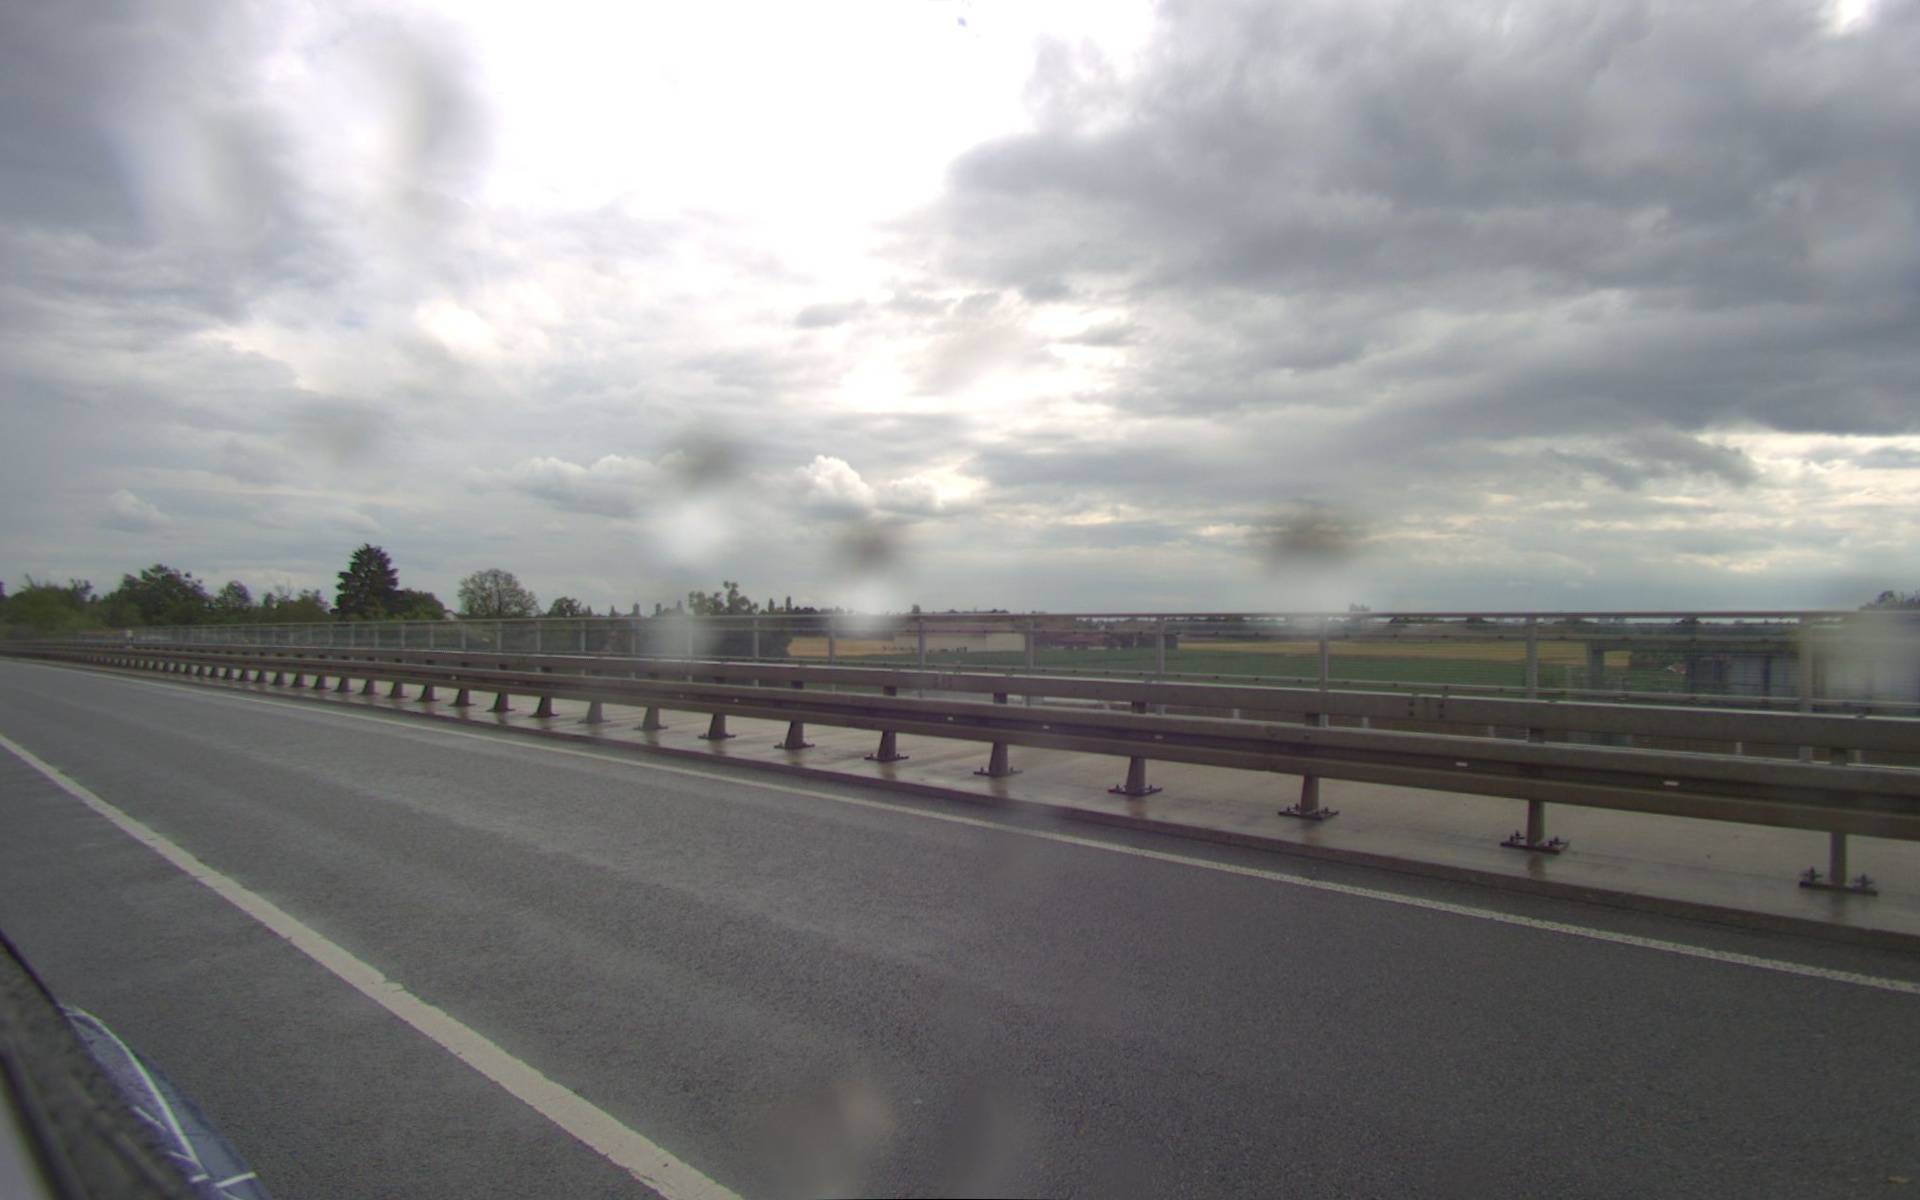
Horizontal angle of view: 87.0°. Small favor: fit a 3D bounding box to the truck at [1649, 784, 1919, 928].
[{"bbox_3d":[29.976,8.696,34.812,11.006,4.031,2.438,-1,0,-2],"label":"truck"}]
